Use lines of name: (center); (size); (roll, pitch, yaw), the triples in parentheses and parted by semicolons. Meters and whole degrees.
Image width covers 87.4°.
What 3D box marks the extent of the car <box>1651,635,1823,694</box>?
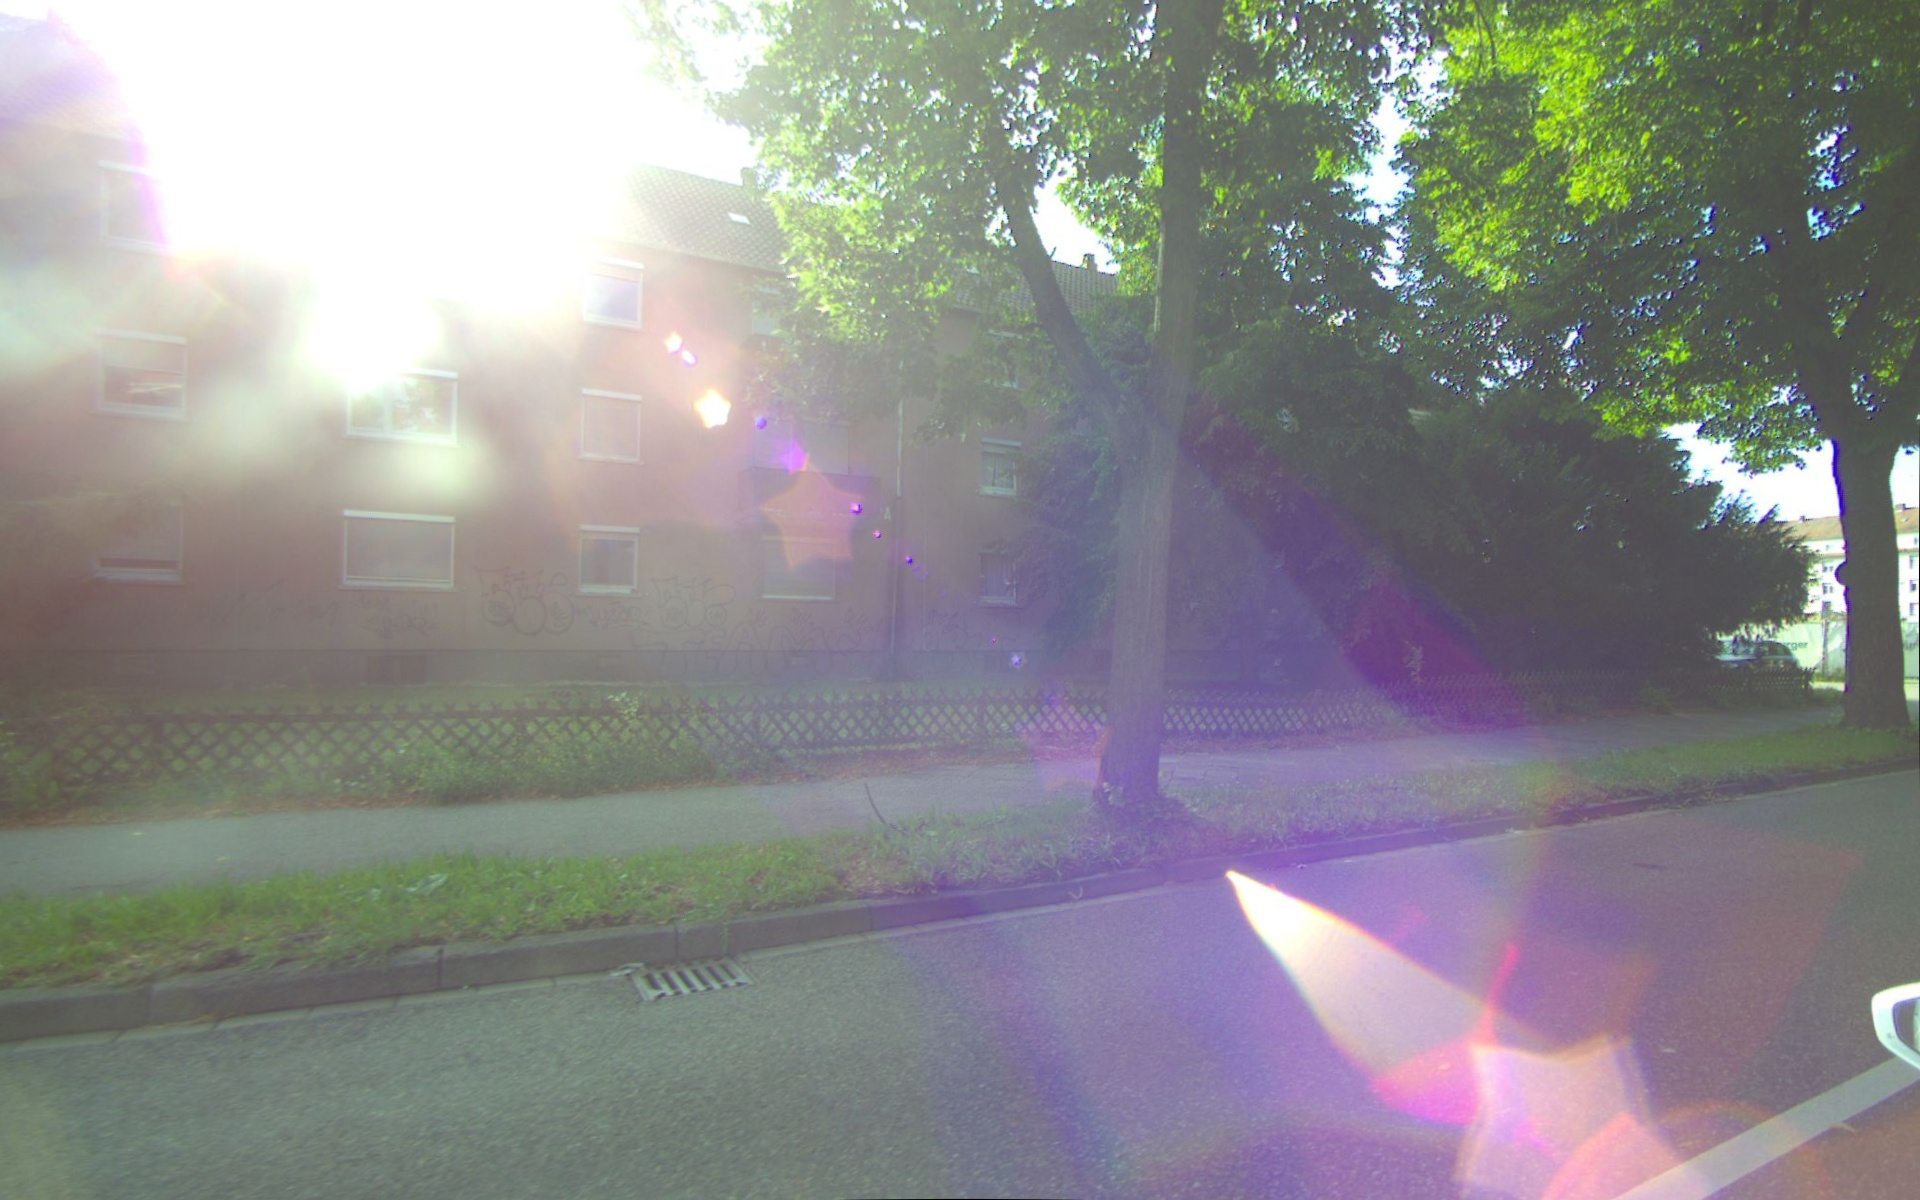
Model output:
car: (20.785, 1.719, 26.842); (4.451, 1.447, 1.986); (3, -3, -28)
